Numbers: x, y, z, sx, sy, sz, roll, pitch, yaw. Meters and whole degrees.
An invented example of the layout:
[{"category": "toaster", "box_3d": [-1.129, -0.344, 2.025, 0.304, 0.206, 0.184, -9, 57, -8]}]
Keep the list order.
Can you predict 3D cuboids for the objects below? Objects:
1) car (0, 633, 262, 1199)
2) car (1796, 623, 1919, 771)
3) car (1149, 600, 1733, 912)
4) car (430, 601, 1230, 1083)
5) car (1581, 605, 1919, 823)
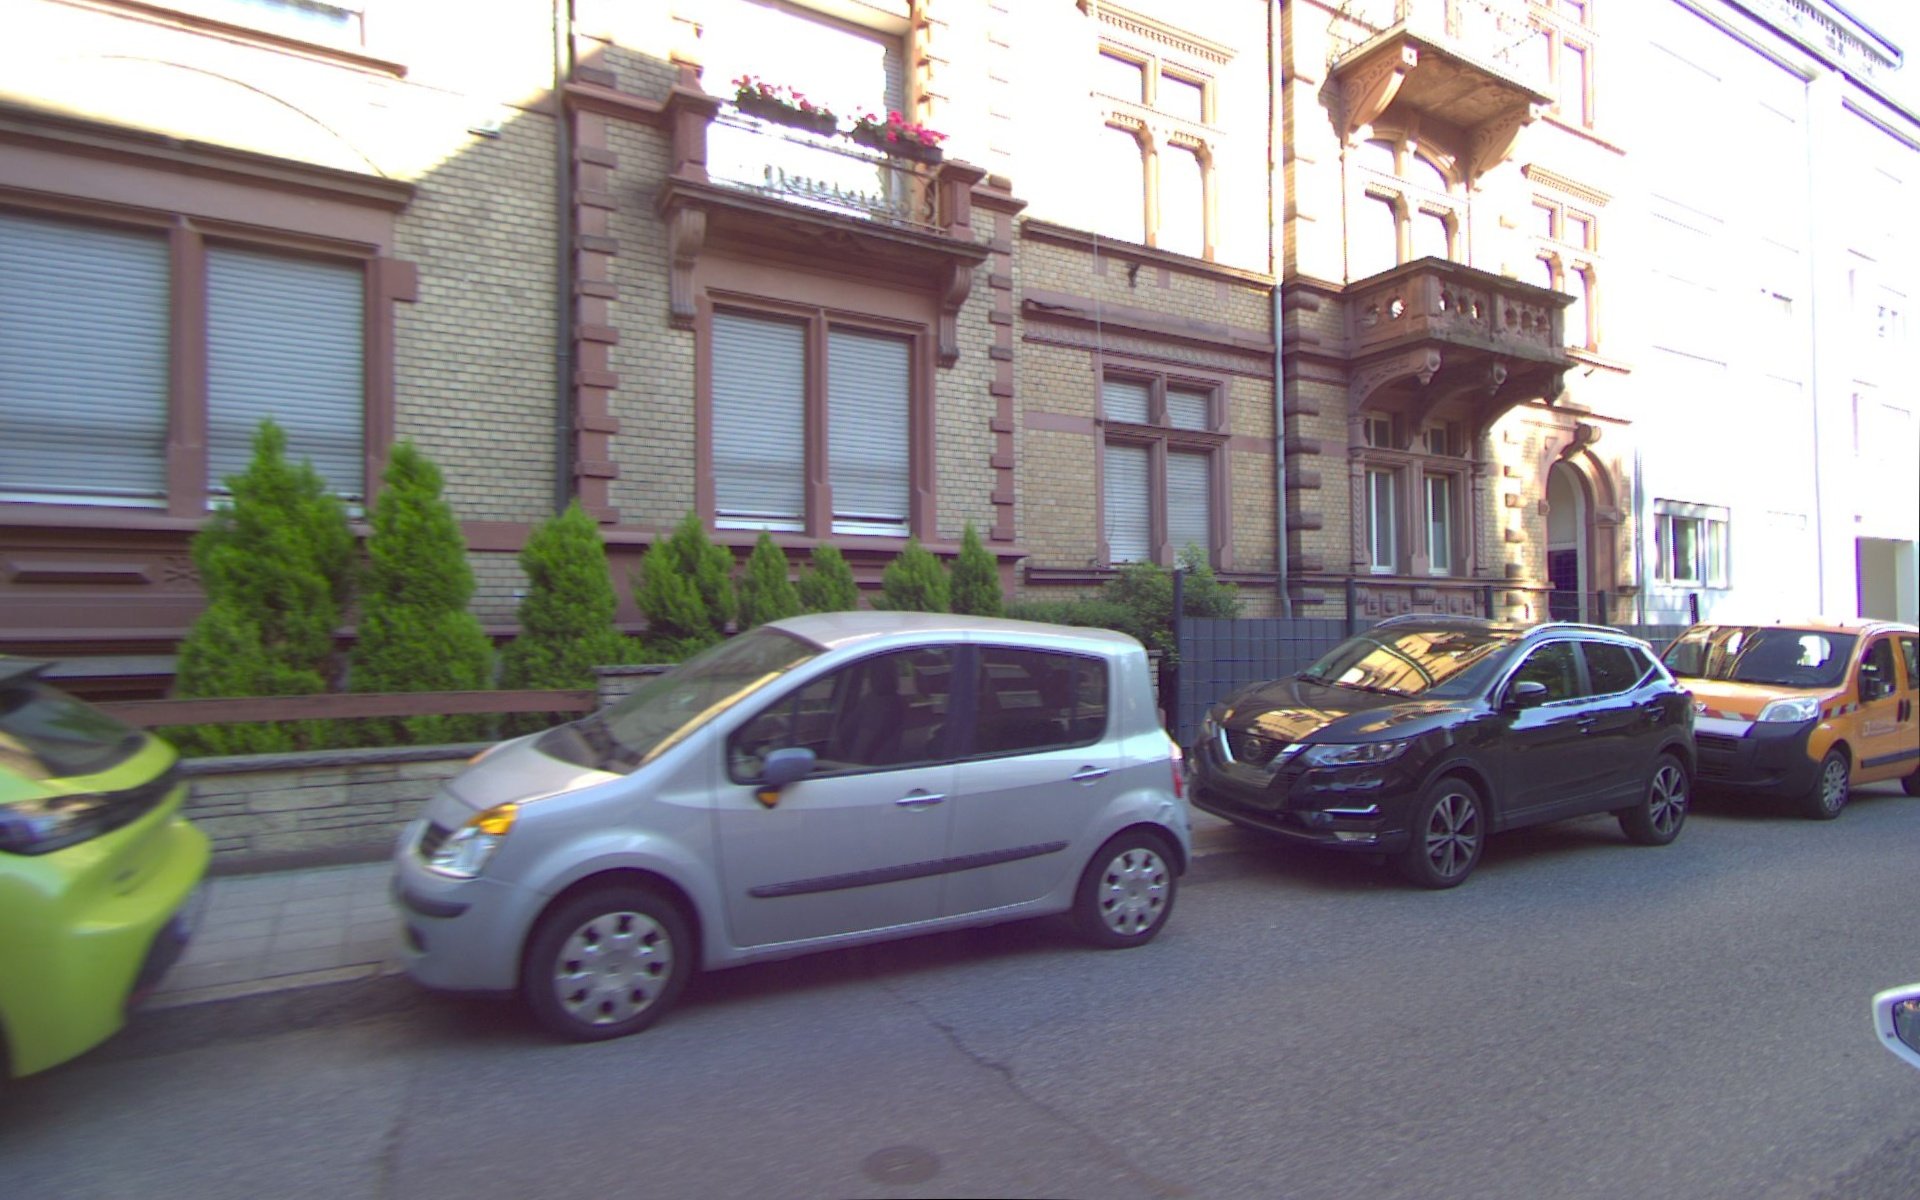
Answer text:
[{"category": "car", "box_3d": [-4.476, 0.842, 2.723, 4.024, 1.522, 1.695, 2, -1, -29]}, {"category": "car", "box_3d": [12.340, 1.124, 12.552, 4.071, 1.641, 1.694, 1, -1, -31]}, {"category": "car", "box_3d": [3.649, 0.903, 7.407, 4.386, 1.730, 1.695, 1, -1, -29]}, {"category": "car", "box_3d": [-0.575, 0.837, 5.003, 3.592, 1.605, 1.694, 1, -1, -30]}, {"category": "car", "box_3d": [7.987, 0.954, 9.853, 3.813, 1.761, 1.694, 1, -1, -31]}]
